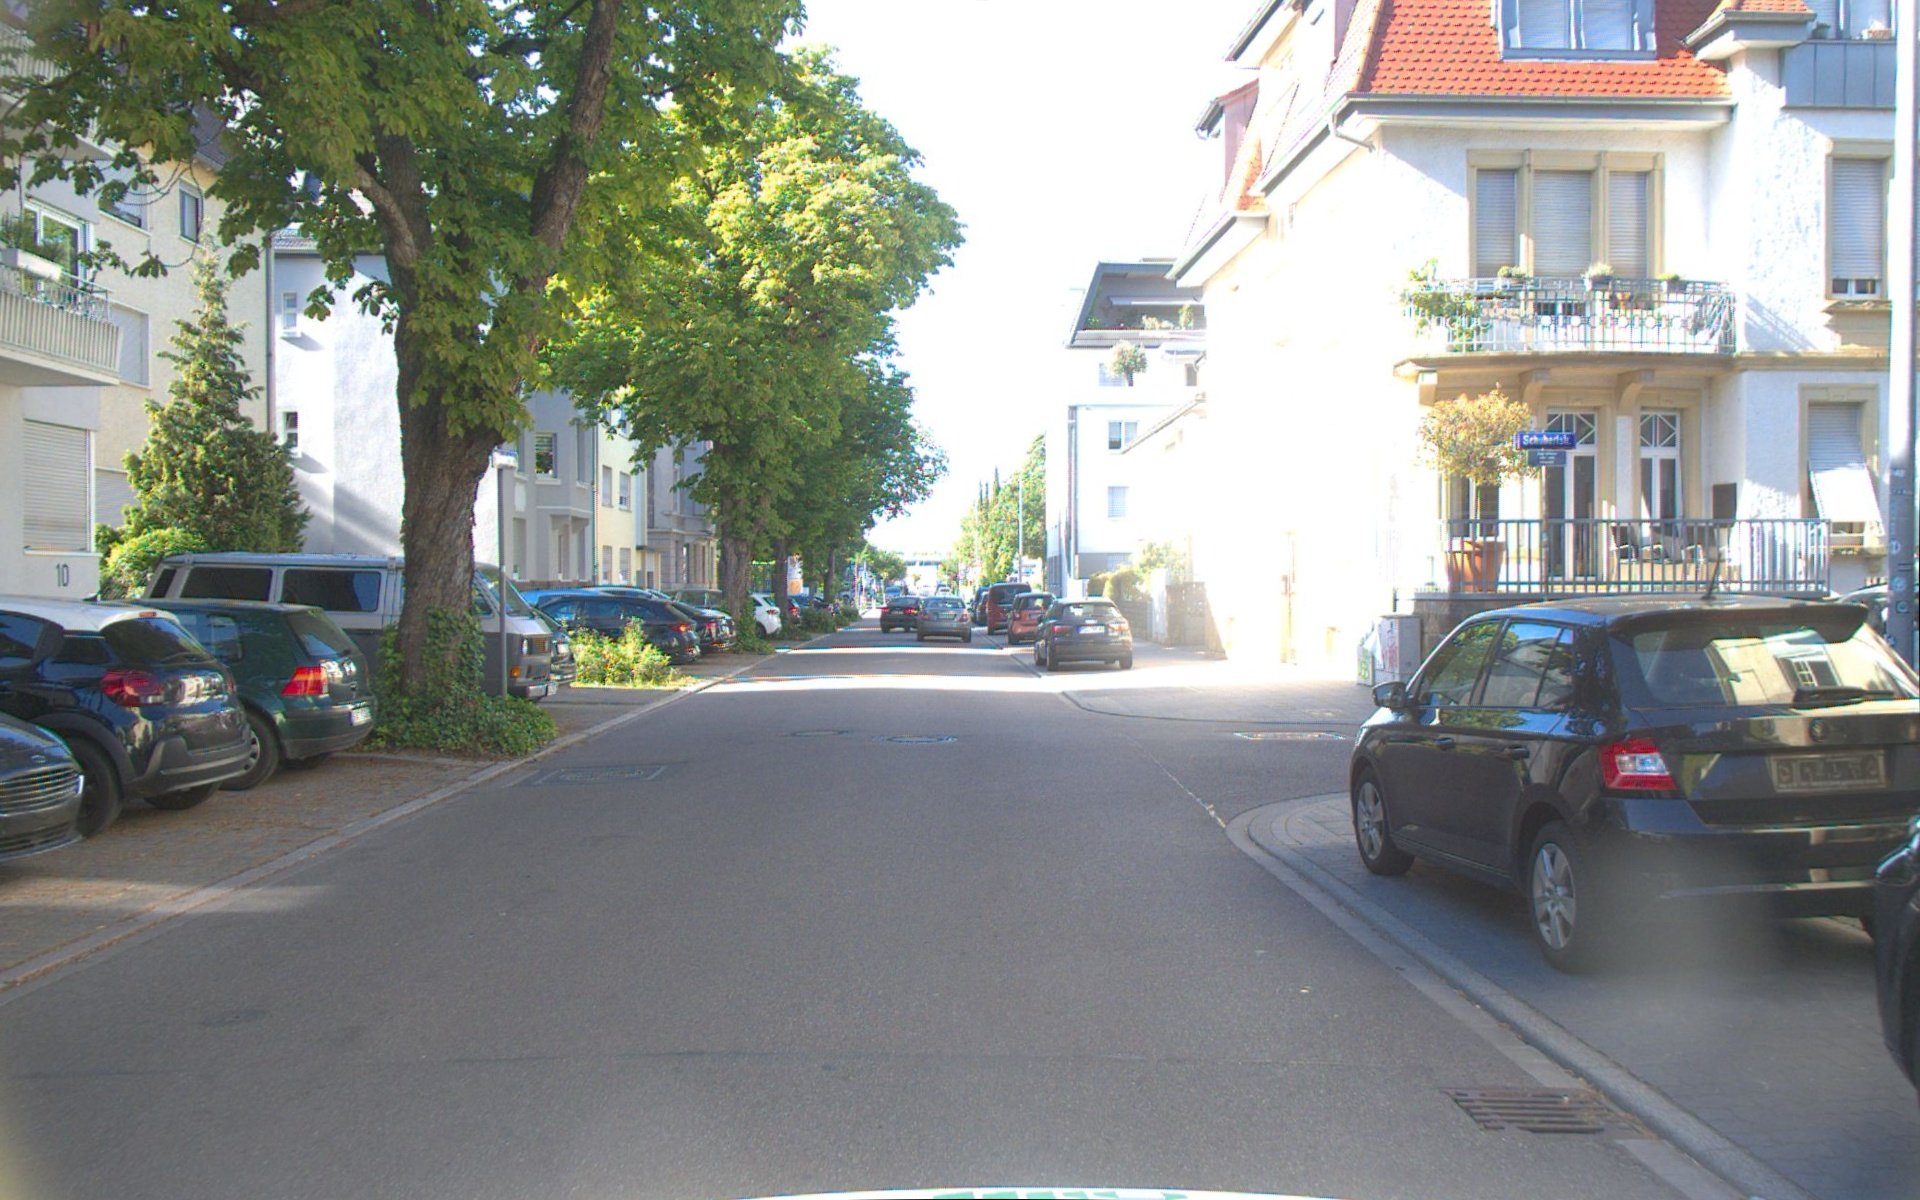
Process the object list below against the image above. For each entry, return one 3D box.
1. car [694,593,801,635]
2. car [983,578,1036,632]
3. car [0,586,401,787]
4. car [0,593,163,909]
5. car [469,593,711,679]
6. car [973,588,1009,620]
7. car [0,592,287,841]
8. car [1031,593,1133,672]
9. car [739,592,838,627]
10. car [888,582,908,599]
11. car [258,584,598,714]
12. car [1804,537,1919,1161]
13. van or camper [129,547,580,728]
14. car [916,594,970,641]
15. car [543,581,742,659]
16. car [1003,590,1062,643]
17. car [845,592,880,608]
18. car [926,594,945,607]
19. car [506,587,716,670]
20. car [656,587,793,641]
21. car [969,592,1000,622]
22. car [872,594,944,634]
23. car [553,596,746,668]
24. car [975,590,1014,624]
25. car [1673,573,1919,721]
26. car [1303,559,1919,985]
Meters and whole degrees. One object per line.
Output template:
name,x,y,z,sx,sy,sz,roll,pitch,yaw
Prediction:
car,-8.132,0.524,63.471,3.907,1.446,1.770,1,1,-2
car,1.848,0.201,63.281,1.833,1.938,5.197,-1,0,0
car,-6.774,0.652,13.461,3.844,1.439,1.714,2,1,-4
car,-6.316,0.678,8.486,3.569,1.488,1.710,2,0,1
car,-6.826,0.640,30.847,4.103,1.525,1.860,0,0,-3
car,1.575,0.244,85.532,1.648,1.460,4.264,-4,-1,-1
car,-6.569,0.687,10.999,3.407,1.483,1.797,2,0,0
car,2.469,0.622,34.197,1.587,1.465,3.933,-3,1,-3
car,-7.893,0.444,76.381,4.384,1.505,1.867,1,-1,-3
car,-6.449,-0.956,172.298,1.836,1.758,3.995,0,0,-6
car,-6.865,0.608,21.592,3.864,1.524,1.662,1,1,1
car,3.288,0.574,2.416,1.755,1.547,4.365,-1,-1,-2
van or camper,-6.758,0.408,18.852,4.406,1.948,1.963,0,0,-2
car,-0.529,0.576,53.547,1.691,1.445,3.960,0,-1,0
car,-7.431,0.449,39.042,4.296,1.681,1.823,-1,2,0
car,2.186,0.490,50.525,1.560,1.506,3.246,-2,0,-1
car,-9.833,0.008,166.821,3.428,1.560,1.642,-1,0,-8
car,-2.565,0.007,174.677,1.689,1.353,3.995,-1,0,-6
car,-7.045,0.563,33.690,3.907,1.620,1.877,0,0,-3
car,-7.235,0.427,51.112,3.941,1.510,1.806,2,0,-2
car,1.319,0.400,90.241,1.532,1.435,3.729,-4,-1,0
car,-2.023,0.591,65.623,1.671,1.473,4.205,2,-1,15
car,-6.720,0.680,36.080,3.906,1.494,1.696,0,0,-2
car,1.650,0.309,79.849,1.701,1.558,4.177,-1,0,-1
car,10.578,0.539,19.114,3.908,1.619,1.789,0,-2,-4
car,3.072,0.661,8.189,1.629,1.547,3.998,-1,-1,-4
